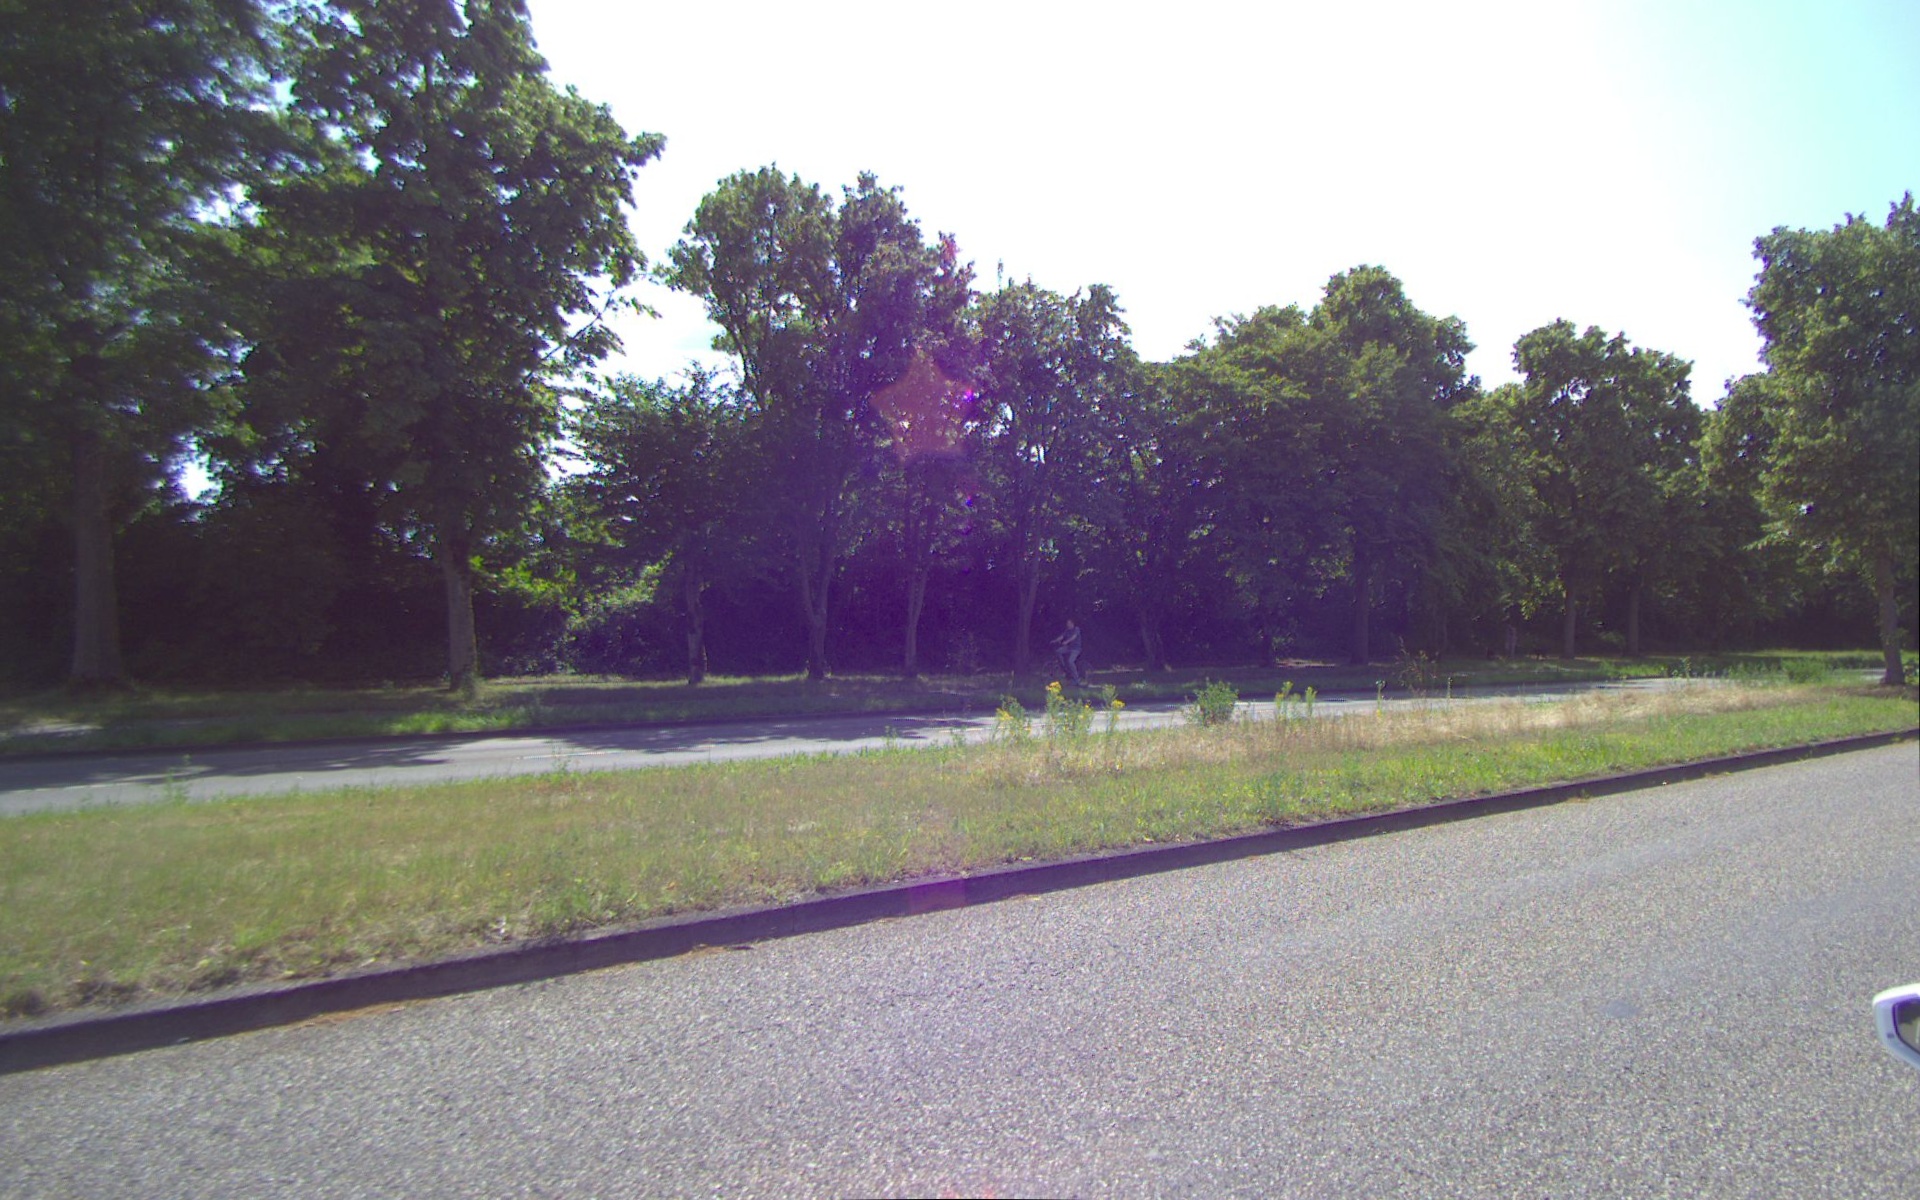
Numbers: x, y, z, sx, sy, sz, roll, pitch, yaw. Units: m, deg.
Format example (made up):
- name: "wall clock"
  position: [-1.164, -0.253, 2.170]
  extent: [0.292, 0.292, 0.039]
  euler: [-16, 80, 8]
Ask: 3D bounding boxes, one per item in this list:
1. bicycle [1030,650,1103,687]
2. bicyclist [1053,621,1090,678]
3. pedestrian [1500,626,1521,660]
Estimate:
- name: "bicycle"
  position: [2.767, 1.768, 26.104]
  extent: [1.892, 0.890, 0.615]
  euler: [1, -2, -30]
- name: "bicyclist"
  position: [2.906, 1.290, 26.200]
  extent: [0.721, 1.467, 0.615]
  euler: [1, -1, -30]
- name: "pedestrian"
  position: [26.904, 2.085, 49.091]
  extent: [0.649, 1.652, 0.640]
  euler: [1, 0, -31]
